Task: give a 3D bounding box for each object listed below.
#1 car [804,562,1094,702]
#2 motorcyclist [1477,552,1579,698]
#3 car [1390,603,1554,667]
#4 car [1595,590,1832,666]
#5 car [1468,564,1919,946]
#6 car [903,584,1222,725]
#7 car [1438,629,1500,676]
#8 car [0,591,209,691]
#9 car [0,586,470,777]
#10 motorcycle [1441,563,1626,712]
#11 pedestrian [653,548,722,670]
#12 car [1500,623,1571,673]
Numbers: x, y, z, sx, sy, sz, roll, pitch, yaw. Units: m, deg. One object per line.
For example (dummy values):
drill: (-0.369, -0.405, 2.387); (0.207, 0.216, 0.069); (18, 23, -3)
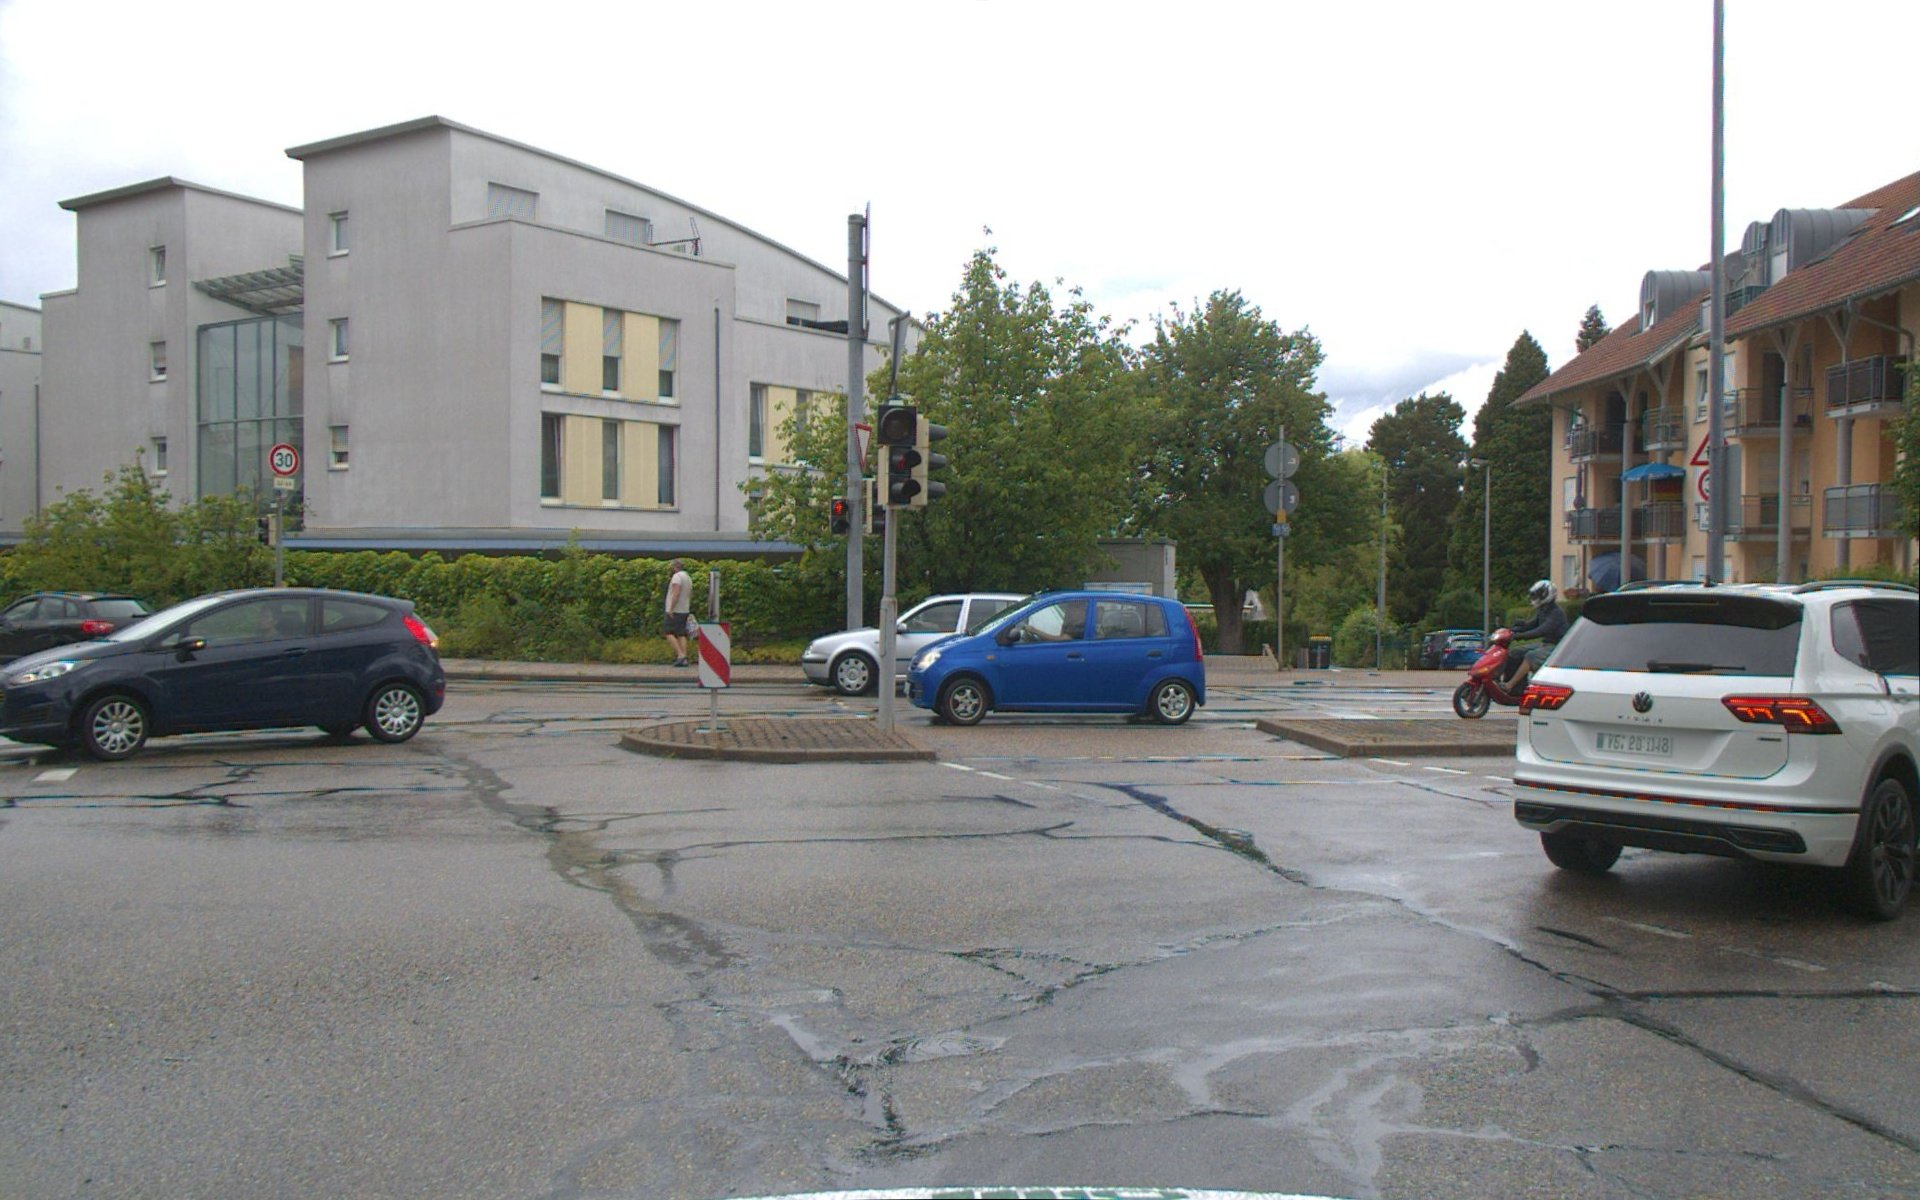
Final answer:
car: (-0.171, 0.423, 23.661); (3.907, 1.698, 2.000); (2, 3, -2)
motorcyclist: (6.688, 0.288, 19.503); (0.916, 1.653, 0.773); (-2, 0, 4)
car: (21.129, 1.407, 68.472); (5.876, 2.239, 2.854); (3, 1, 3)
car: (15.408, 0.570, 34.016); (4.100, 1.464, 1.824); (1, -1, 9)
car: (4.952, 0.679, 9.732); (4.229, 1.752, 1.897); (-1, 1, -42)
car: (1.111, 0.594, 18.680); (3.364, 1.481, 1.522); (1, 1, -8)
car: (17.302, 1.771, 56.357); (1.723, 1.433, 3.865); (-1, 0, 13)
car: (-15.312, 0.692, 28.736); (3.906, 1.579, 2.000); (-1, 1, 24)
car: (-6.837, 0.645, 15.415); (3.963, 1.527, 1.898); (0, 1, -41)
motorcycle: (6.736, 0.430, 19.501); (1.875, 1.653, 0.798); (-2, 0, 4)
pedestrian: (-4.674, 0.138, 28.391); (0.784, 2.048, 0.848); (0, 1, 30)
car: (18.505, 1.531, 53.297); (1.723, 1.433, 3.865); (-1, 0, 13)
